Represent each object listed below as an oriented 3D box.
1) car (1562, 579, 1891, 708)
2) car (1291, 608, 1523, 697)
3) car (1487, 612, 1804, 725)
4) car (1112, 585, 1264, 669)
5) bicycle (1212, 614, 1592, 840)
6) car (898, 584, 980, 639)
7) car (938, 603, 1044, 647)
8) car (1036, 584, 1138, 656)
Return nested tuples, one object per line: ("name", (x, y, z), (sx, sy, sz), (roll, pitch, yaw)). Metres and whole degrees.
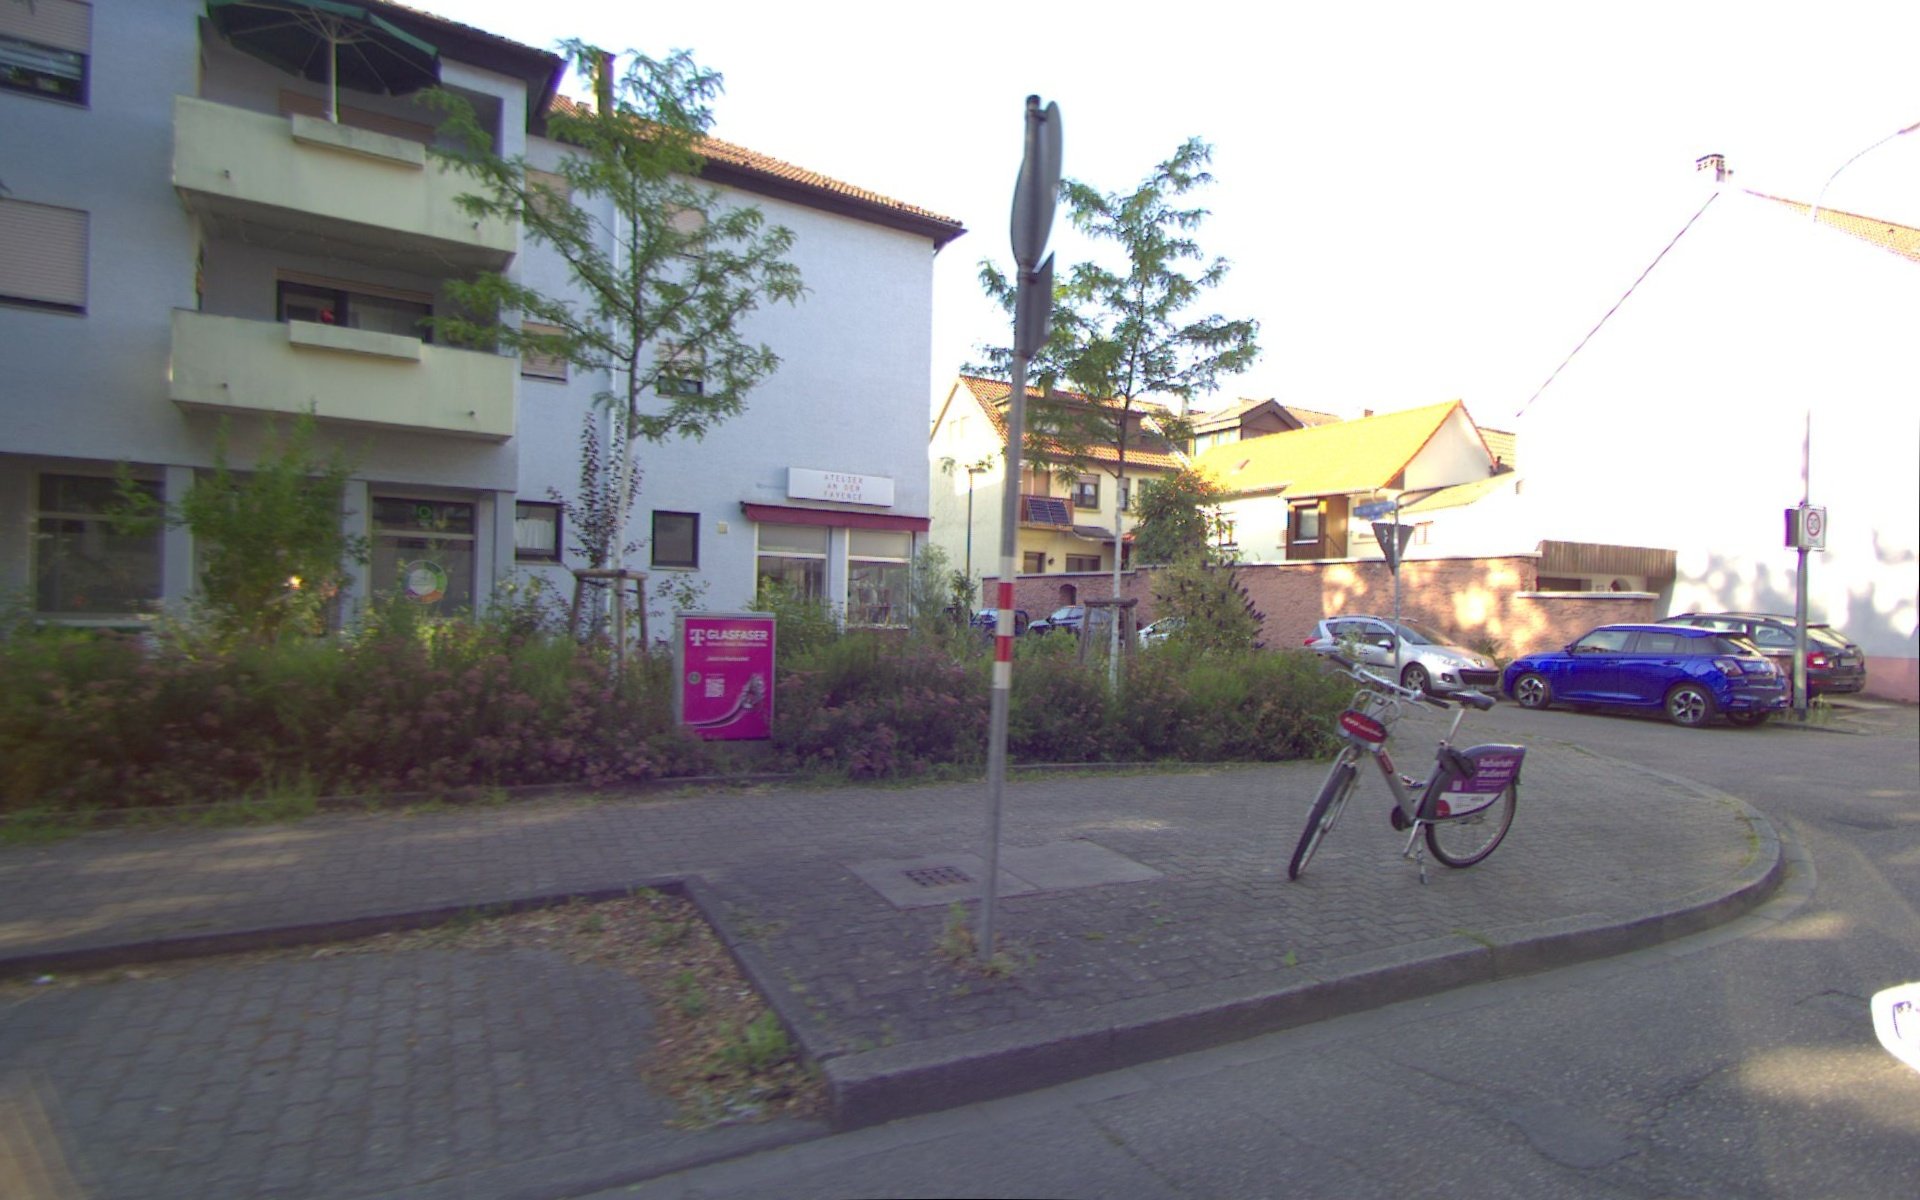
("car", (13.868, 0.652, 18.517), (1.960, 1.819, 4.350), (-1, 5, -24))
("car", (8.892, 0.983, 20.345), (1.973, 1.521, 3.975), (1, 0, -25))
("car", (10.857, 0.990, 16.203), (1.973, 1.550, 3.756), (1, 0, -25))
("car", (5.869, 0.645, 26.208), (1.902, 2.040, 3.645), (1, 0, -29))
("bicycle", (2.360, 0.624, 5.344), (1.914, 1.016, 0.702), (2, 1, -23))
("car", (-0.879, 0.420, 39.588), (1.546, 2.040, 3.737), (2, 0, -31))
("car", (1.049, 0.875, 36.063), (1.978, 1.428, 3.965), (1, 0, -31))
("car", (3.720, 0.562, 29.839), (1.370, 1.910, 3.079), (3, 1, -29))
